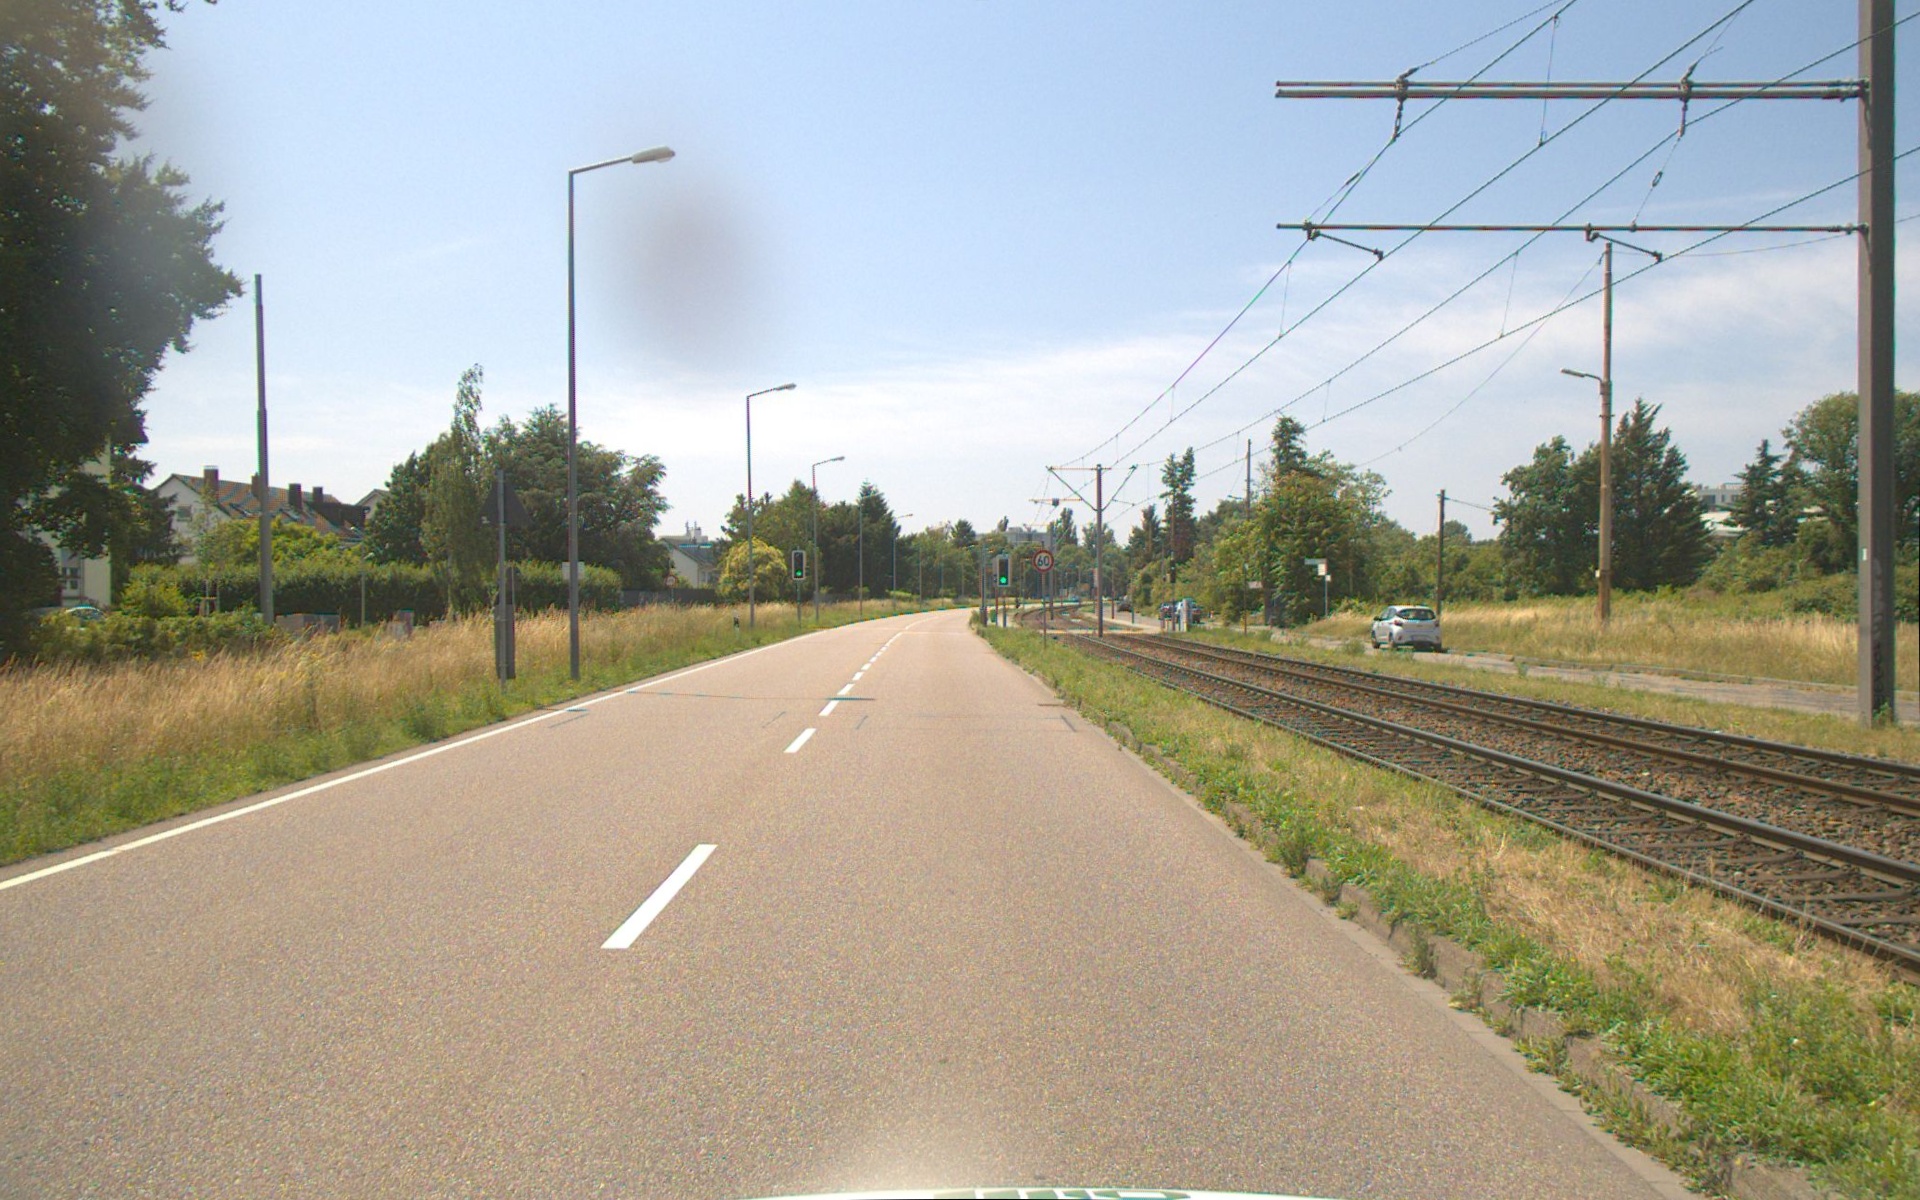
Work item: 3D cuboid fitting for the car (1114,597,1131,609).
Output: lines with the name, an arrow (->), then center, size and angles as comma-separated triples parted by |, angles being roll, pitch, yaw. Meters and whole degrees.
car -> 19.759, 0.352, 200.810 | 1.822, 1.353, 4.517 | 1, 0, 3

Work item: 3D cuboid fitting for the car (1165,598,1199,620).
car -> 15.013, 0.592, 112.008 | 1.899, 1.447, 4.001 | 1, 0, 1

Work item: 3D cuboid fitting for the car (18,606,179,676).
car -> -20.246, 0.926, 39.058 | 1.672, 1.517, 4.185 | 1, 0, -1

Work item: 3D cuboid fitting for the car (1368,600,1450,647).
car -> 15.221, 0.774, 56.266 | 1.678, 1.514, 4.001 | 1, 0, 0

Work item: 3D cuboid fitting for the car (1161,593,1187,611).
car -> 16.966, 0.160, 131.157 | 1.586, 1.447, 4.874 | 1, 0, 2
